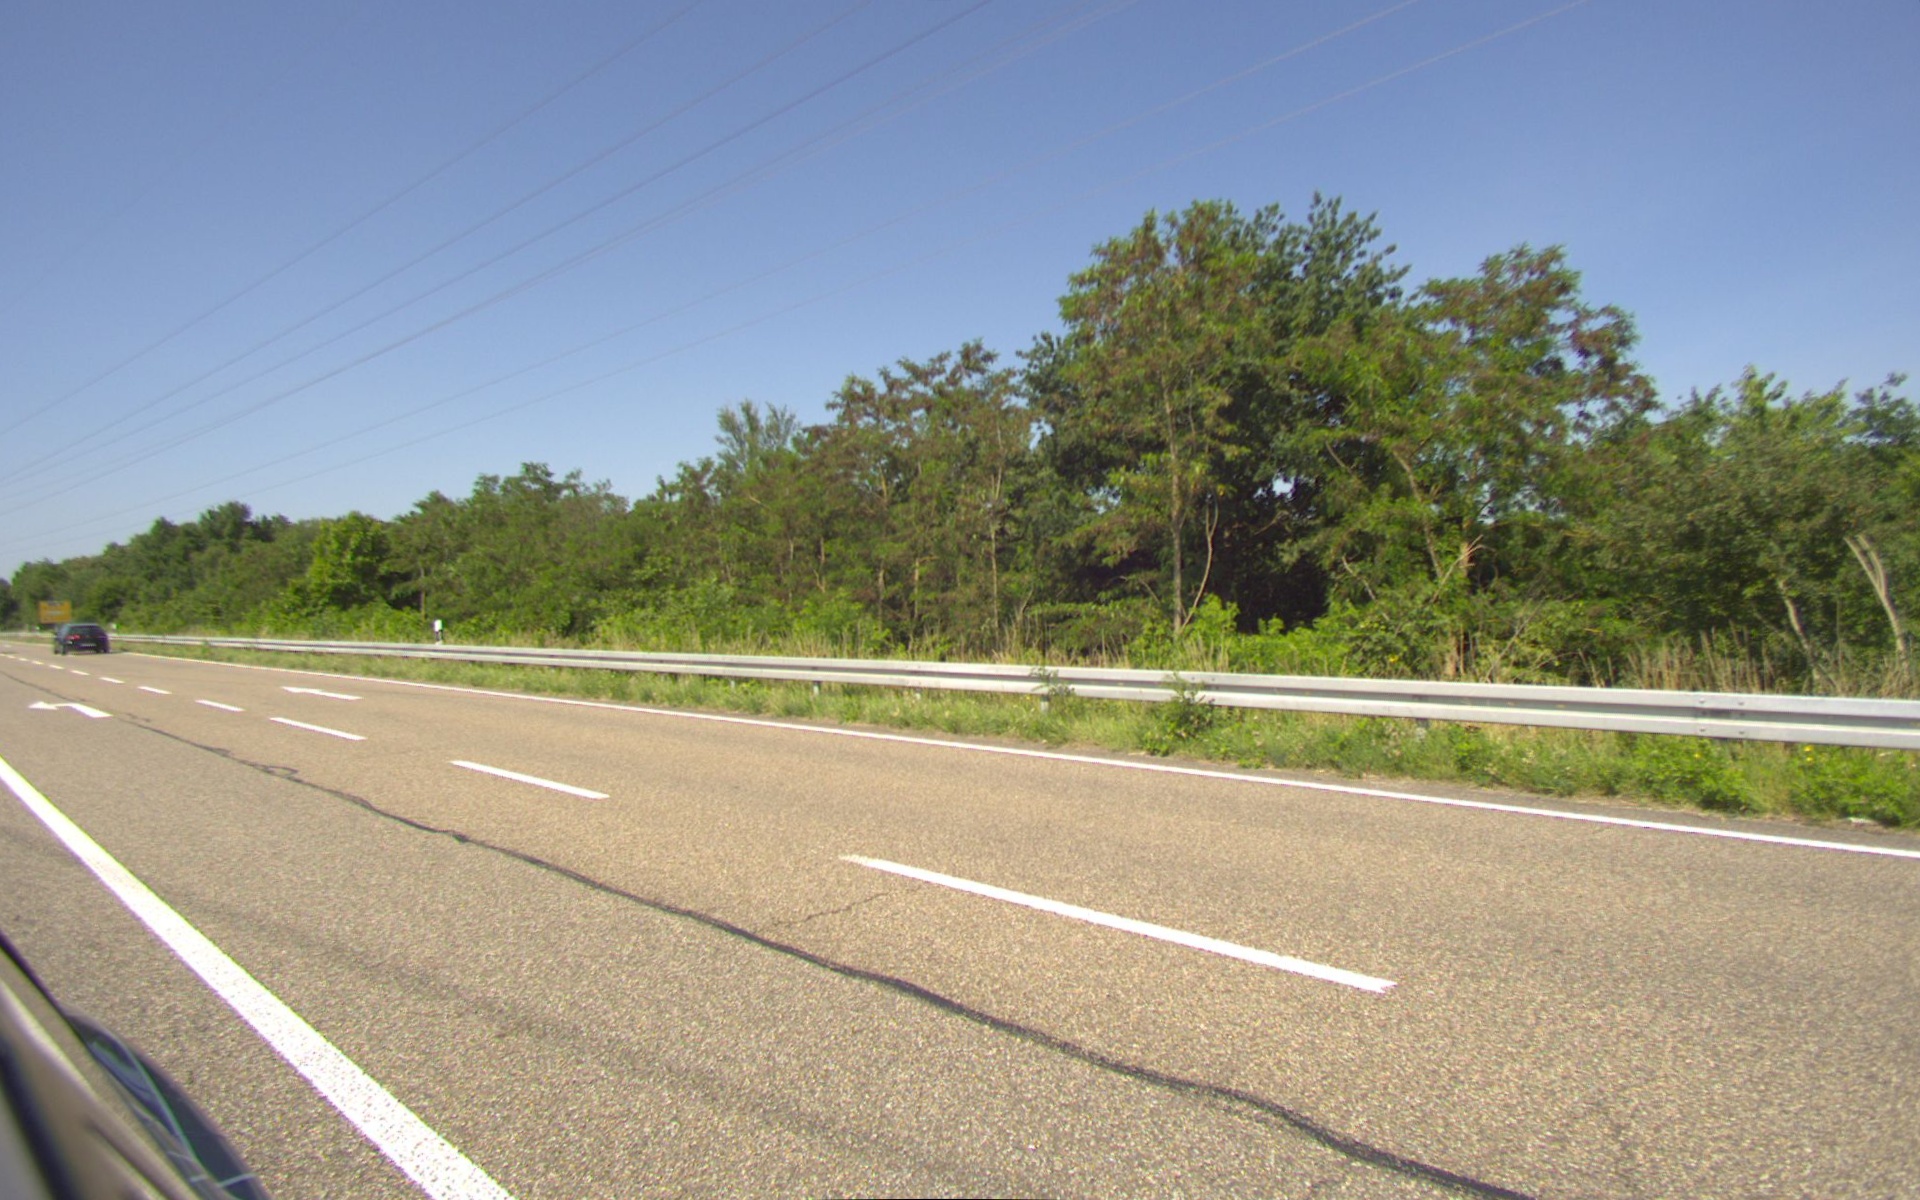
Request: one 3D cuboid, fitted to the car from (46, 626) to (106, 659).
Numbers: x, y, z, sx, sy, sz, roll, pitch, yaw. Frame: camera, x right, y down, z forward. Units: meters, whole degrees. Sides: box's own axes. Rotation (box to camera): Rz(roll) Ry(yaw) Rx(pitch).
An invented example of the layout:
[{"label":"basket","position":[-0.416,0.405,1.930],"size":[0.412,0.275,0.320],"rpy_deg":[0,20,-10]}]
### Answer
[{"label":"car","position":[-41.276,1.961,47.244],"size":[4.213,1.453,1.642],"rpy_deg":[-2,-1,42]}]
